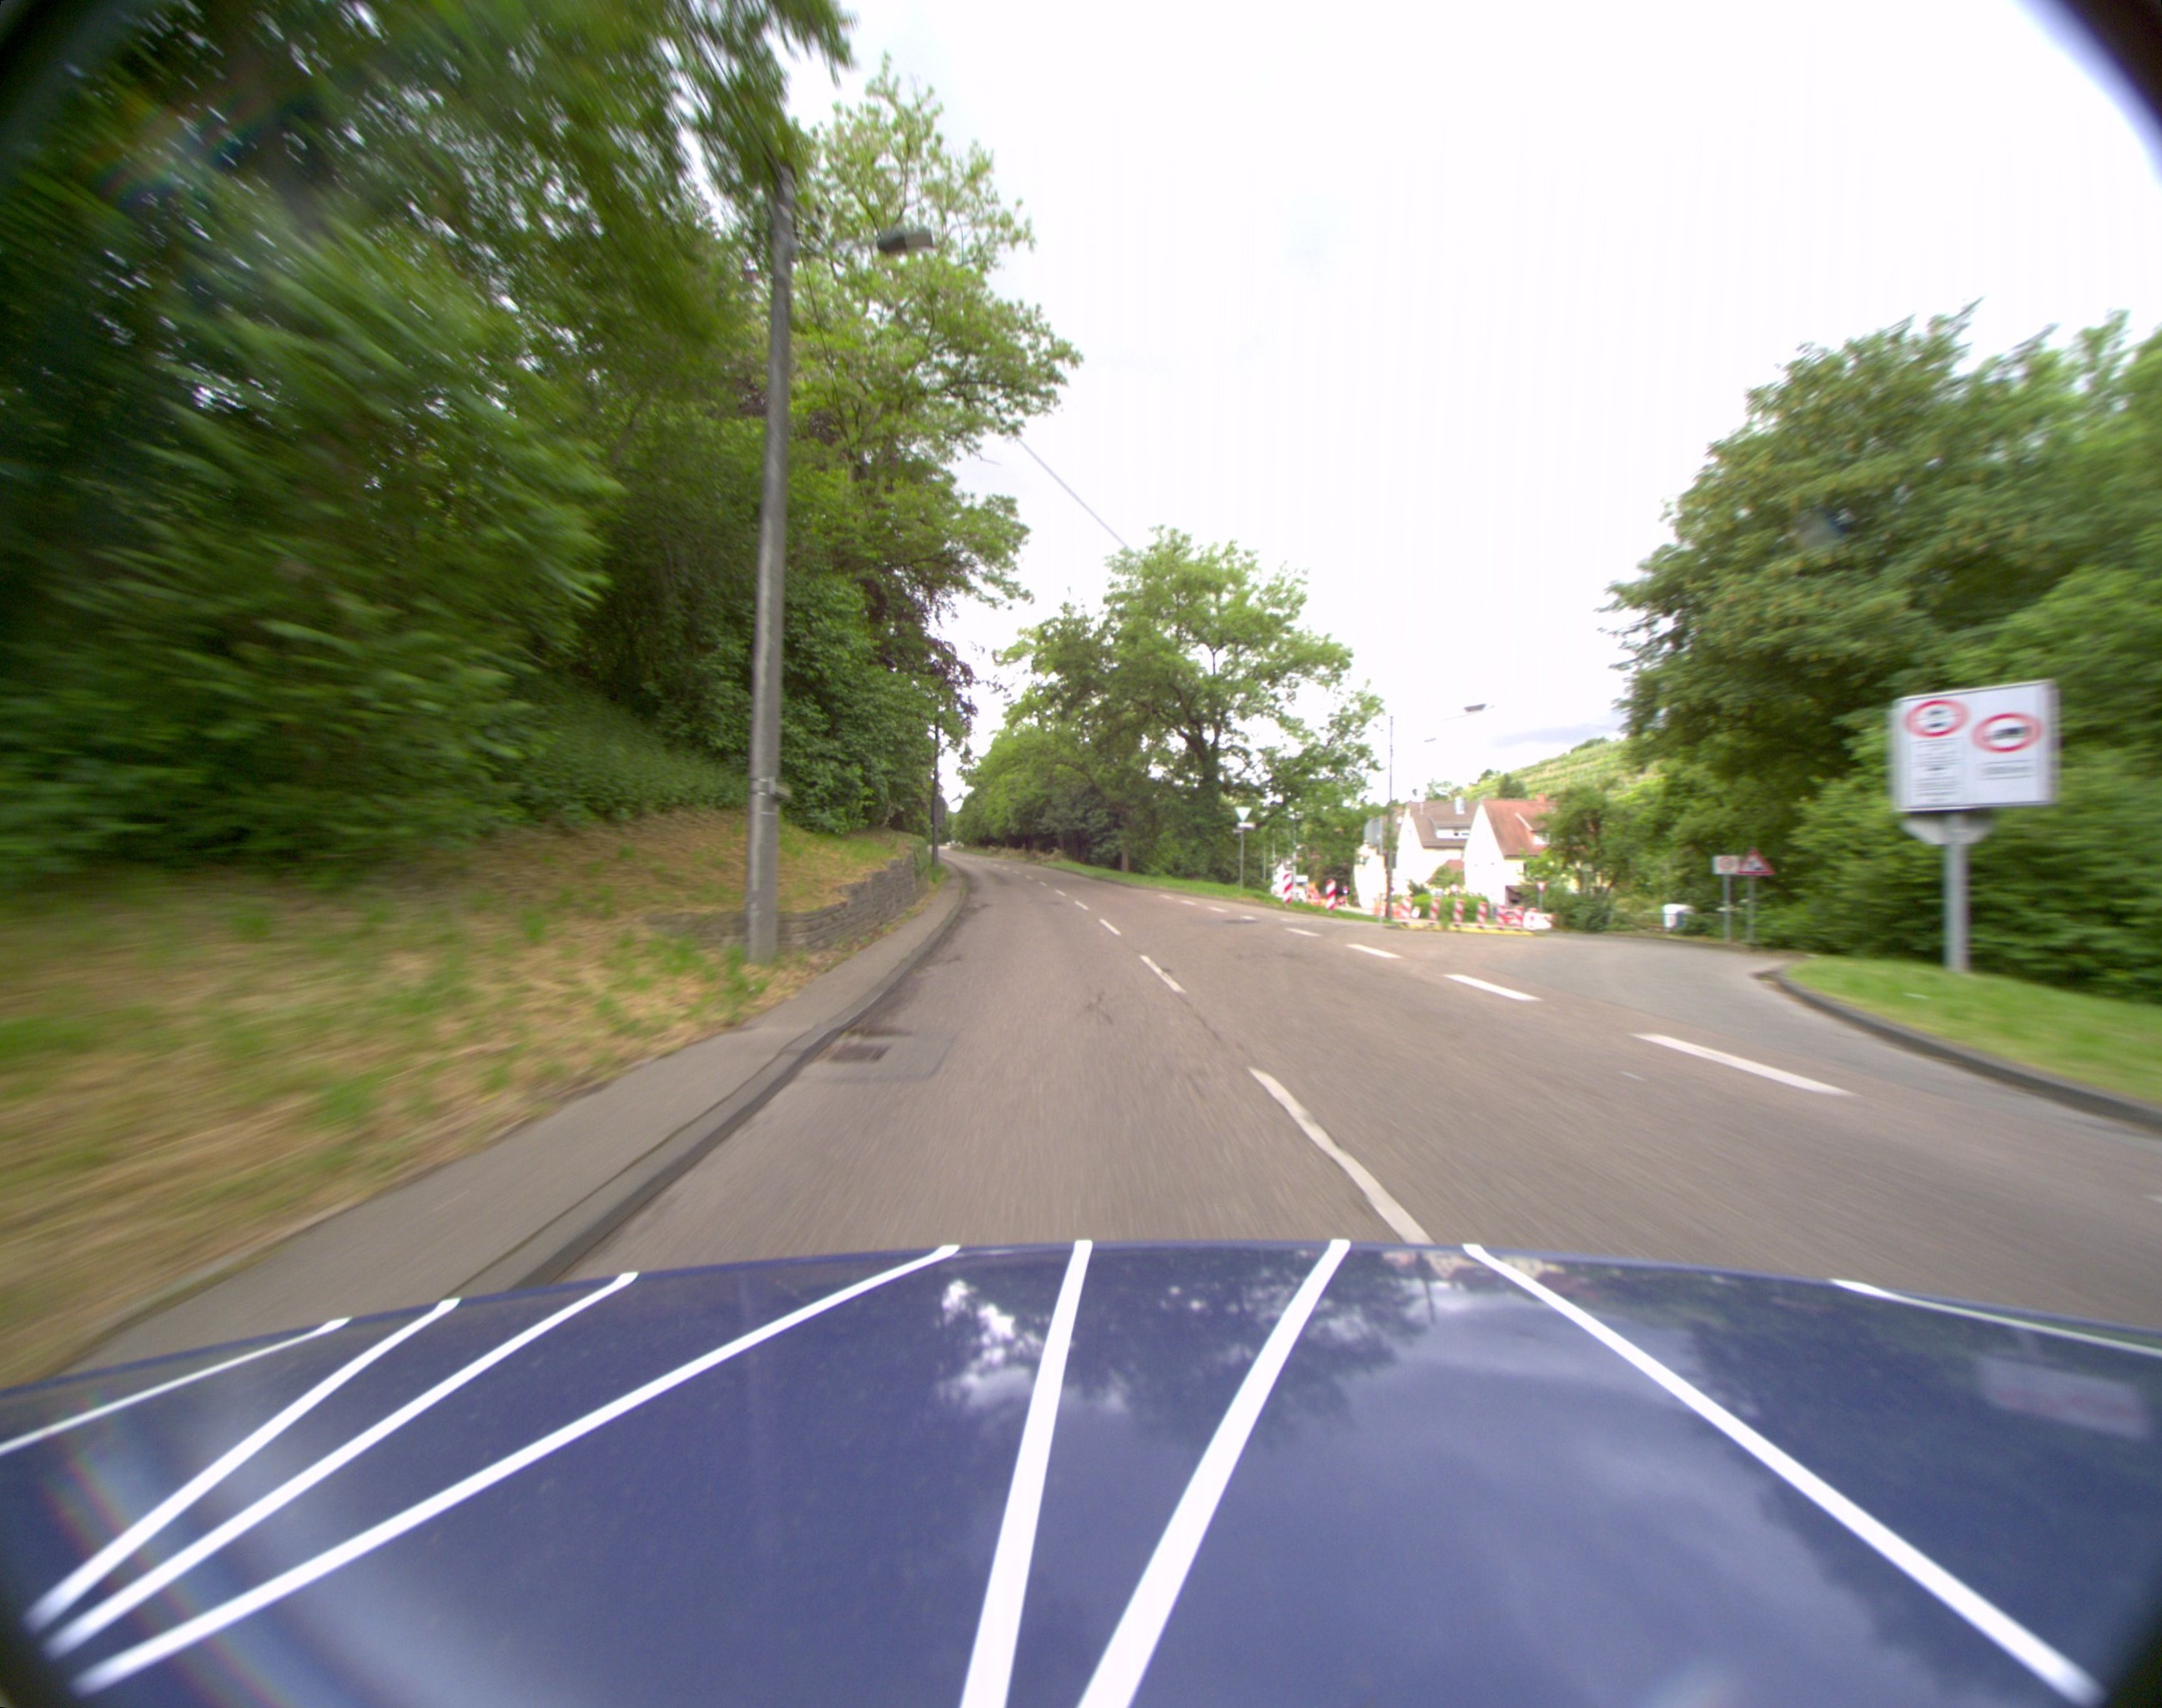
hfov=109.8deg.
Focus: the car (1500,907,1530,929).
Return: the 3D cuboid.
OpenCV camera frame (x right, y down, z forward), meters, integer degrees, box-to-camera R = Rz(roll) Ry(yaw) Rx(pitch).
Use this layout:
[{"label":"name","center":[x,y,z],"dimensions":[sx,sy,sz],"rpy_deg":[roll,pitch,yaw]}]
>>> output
[{"label":"car","center":[32.678,4.804,57.307],"dimensions":[1.751,1.381,4.010],"rpy_deg":[7,0,29]}]
